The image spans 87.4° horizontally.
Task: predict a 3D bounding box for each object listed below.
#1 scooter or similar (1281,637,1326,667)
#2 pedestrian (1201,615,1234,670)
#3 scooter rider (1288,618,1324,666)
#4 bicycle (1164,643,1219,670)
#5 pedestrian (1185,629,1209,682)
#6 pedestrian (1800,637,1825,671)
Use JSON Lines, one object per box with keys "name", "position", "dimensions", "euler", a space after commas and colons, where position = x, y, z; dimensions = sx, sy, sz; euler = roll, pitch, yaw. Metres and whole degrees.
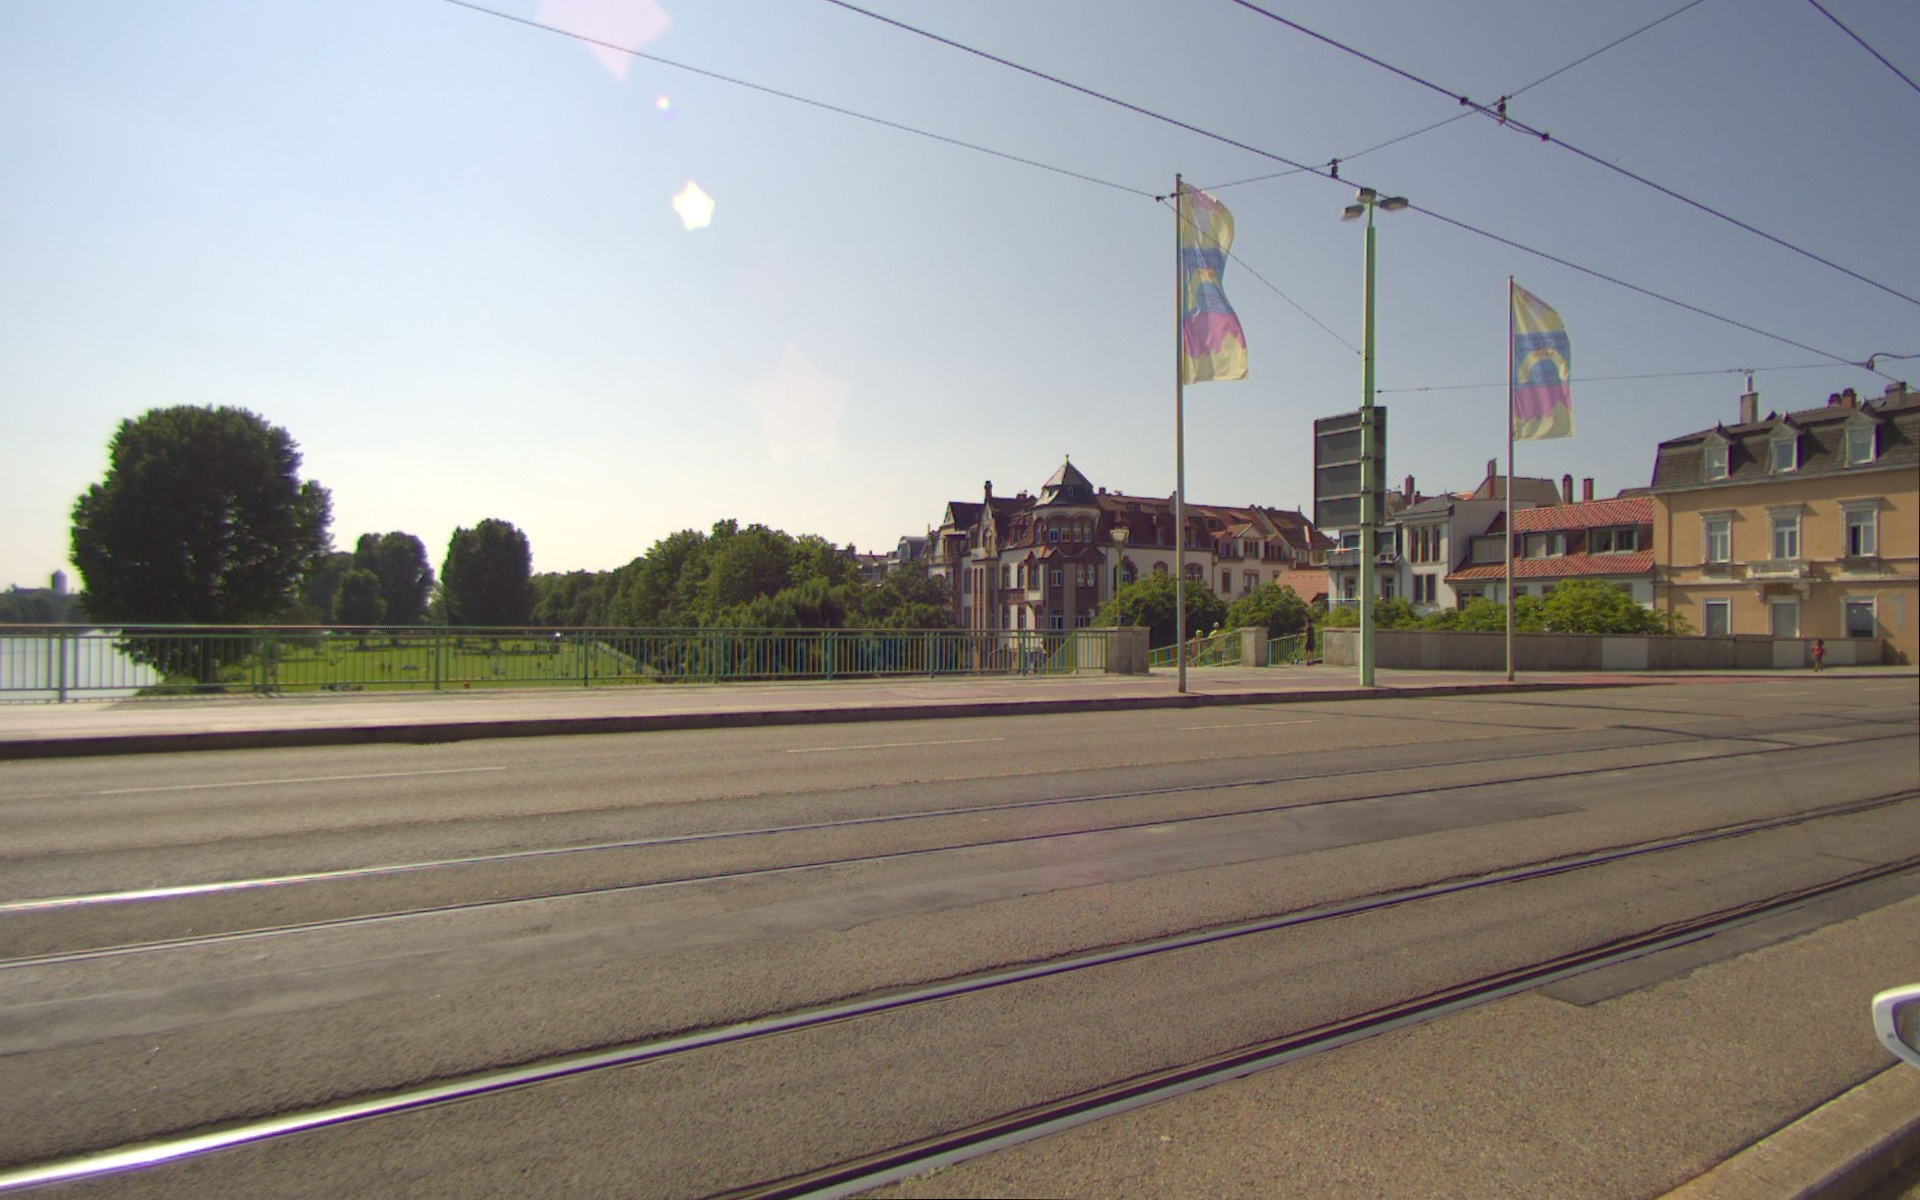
{"name": "scooter or similar", "position": [10.159, 1.531, 29.697], "dimensions": [0.945, 0.793, 0.779], "euler": [2, 3, -18]}
{"name": "pedestrian", "position": [8.550, 1.394, 33.396], "dimensions": [0.791, 1.804, 0.743], "euler": [1, -1, -25]}
{"name": "scooter rider", "position": [10.215, 1.224, 29.662], "dimensions": [0.589, 1.333, 0.767], "euler": [2, 3, -18]}
{"name": "bicycle", "position": [7.532, 1.828, 32.767], "dimensions": [0.614, 0.726, 1.919], "euler": [0, 1, -28]}
{"name": "pedestrian", "position": [7.677, 1.795, 32.572], "dimensions": [0.408, 1.654, 0.623], "euler": [1, 1, -28]}
{"name": "pedestrian", "position": [30.074, 1.899, 35.446], "dimensions": [0.537, 1.161, 0.411], "euler": [2, 3, -24]}
